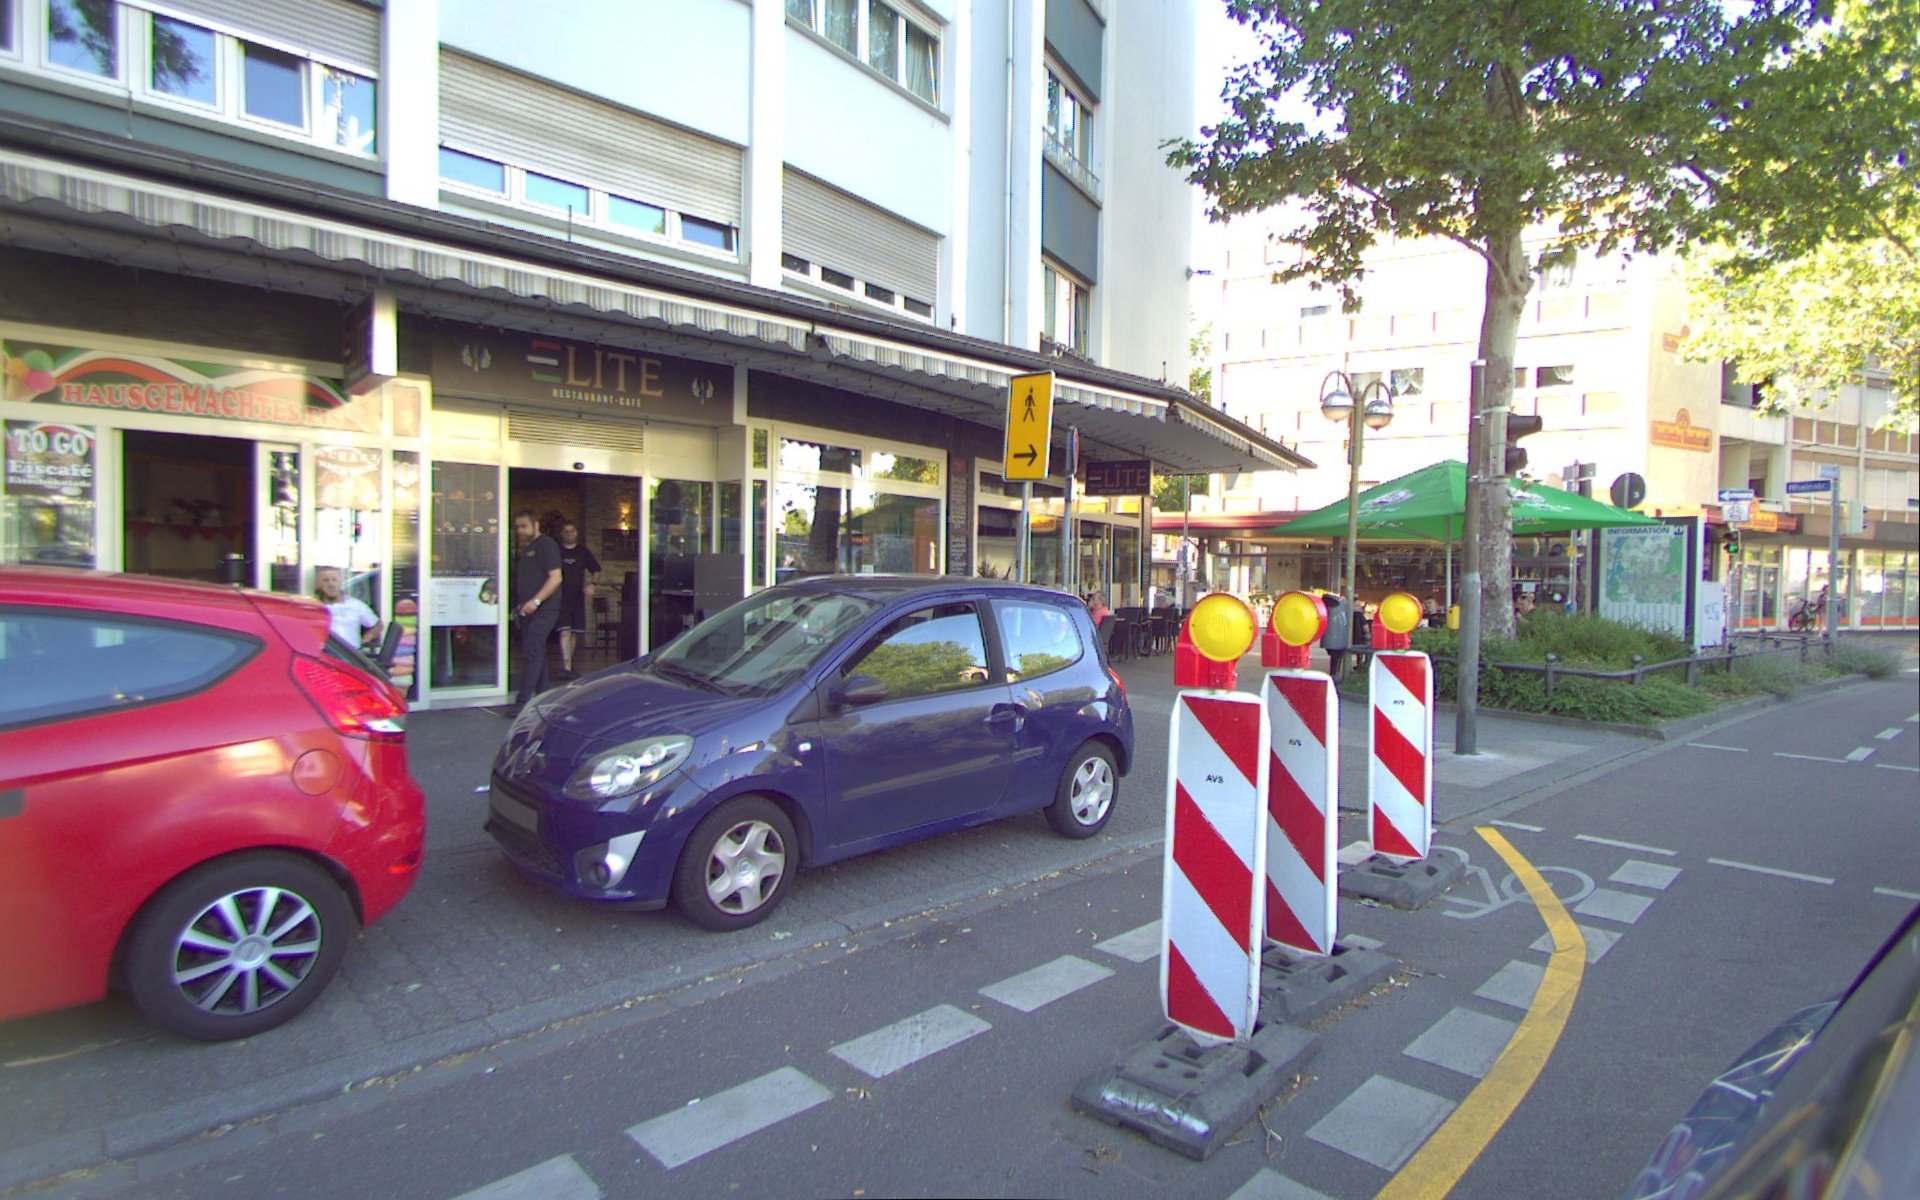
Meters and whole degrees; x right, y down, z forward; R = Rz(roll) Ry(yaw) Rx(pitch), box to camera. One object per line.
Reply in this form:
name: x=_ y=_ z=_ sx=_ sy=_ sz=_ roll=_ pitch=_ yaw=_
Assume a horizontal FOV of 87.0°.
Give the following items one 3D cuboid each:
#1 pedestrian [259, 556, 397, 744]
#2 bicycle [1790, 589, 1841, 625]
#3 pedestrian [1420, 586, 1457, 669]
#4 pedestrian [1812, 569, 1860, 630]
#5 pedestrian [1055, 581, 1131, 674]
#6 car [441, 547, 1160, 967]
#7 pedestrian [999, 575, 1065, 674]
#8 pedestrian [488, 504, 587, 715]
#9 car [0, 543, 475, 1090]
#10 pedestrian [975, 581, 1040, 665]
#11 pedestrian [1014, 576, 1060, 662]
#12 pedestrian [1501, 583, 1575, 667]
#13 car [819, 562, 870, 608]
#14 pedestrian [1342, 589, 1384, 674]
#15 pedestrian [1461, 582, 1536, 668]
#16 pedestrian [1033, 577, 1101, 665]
pedestrian: x=-4.831 y=0.320 z=7.706 sx=0.765 sy=1.247 sz=1.207 roll=-1 pitch=5 yaw=-38
bicycle: x=28.115 y=0.220 z=33.252 sx=1.933 sy=1.157 sz=0.530 roll=0 pitch=1 yaw=-26
pedestrian: x=7.447 y=0.420 z=15.767 sx=0.427 sy=1.234 sz=0.465 roll=3 pitch=2 yaw=20
pedestrian: x=26.337 y=-0.023 z=30.430 sx=0.883 sy=1.779 sz=0.751 roll=0 pitch=1 yaw=-24
pedestrian: x=1.848 y=0.367 z=14.023 sx=0.838 sy=1.213 sz=0.644 roll=3 pitch=1 yaw=27
car: x=-0.650 y=0.533 z=5.493 sx=3.545 sy=1.484 sz=1.621 roll=0 pitch=4 yaw=-44
pedestrian: x=0.984 y=0.314 z=13.748 sx=0.644 sy=1.267 sz=0.711 roll=3 pitch=1 yaw=25
pedestrian: x=-3.687 y=0.059 z=8.826 sx=0.579 sy=1.756 sz=0.596 roll=1 pitch=3 yaw=-43
car: x=-3.650 y=0.565 z=2.847 sx=1.667 sy=1.446 sz=3.786 roll=5 pitch=4 yaw=44
pedestrian: x=0.695 y=0.320 z=14.652 sx=0.710 sy=1.144 sz=0.645 roll=3 pitch=1 yaw=25
pedestrian: x=1.158 y=0.274 z=15.273 sx=0.541 sy=1.259 sz=0.521 roll=2 pitch=1 yaw=-7
pedestrian: x=9.260 y=0.383 z=16.220 sx=0.753 sy=1.301 sz=0.720 roll=0 pitch=1 yaw=-28
car: x=-4.763 y=-0.643 z=42.077 sx=1.960 sy=1.771 sz=4.004 roll=1 pitch=1 yaw=-5
pedestrian: x=5.935 y=0.453 z=14.911 sx=0.460 sy=1.235 sz=0.432 roll=1 pitch=0 yaw=5
pedestrian: x=8.410 y=0.373 z=15.817 sx=0.752 sy=1.301 sz=0.721 roll=0 pitch=1 yaw=-27
pedestrian: x=1.579 y=0.297 z=14.913 sx=0.664 sy=1.233 sz=0.706 roll=3 pitch=1 yaw=43
